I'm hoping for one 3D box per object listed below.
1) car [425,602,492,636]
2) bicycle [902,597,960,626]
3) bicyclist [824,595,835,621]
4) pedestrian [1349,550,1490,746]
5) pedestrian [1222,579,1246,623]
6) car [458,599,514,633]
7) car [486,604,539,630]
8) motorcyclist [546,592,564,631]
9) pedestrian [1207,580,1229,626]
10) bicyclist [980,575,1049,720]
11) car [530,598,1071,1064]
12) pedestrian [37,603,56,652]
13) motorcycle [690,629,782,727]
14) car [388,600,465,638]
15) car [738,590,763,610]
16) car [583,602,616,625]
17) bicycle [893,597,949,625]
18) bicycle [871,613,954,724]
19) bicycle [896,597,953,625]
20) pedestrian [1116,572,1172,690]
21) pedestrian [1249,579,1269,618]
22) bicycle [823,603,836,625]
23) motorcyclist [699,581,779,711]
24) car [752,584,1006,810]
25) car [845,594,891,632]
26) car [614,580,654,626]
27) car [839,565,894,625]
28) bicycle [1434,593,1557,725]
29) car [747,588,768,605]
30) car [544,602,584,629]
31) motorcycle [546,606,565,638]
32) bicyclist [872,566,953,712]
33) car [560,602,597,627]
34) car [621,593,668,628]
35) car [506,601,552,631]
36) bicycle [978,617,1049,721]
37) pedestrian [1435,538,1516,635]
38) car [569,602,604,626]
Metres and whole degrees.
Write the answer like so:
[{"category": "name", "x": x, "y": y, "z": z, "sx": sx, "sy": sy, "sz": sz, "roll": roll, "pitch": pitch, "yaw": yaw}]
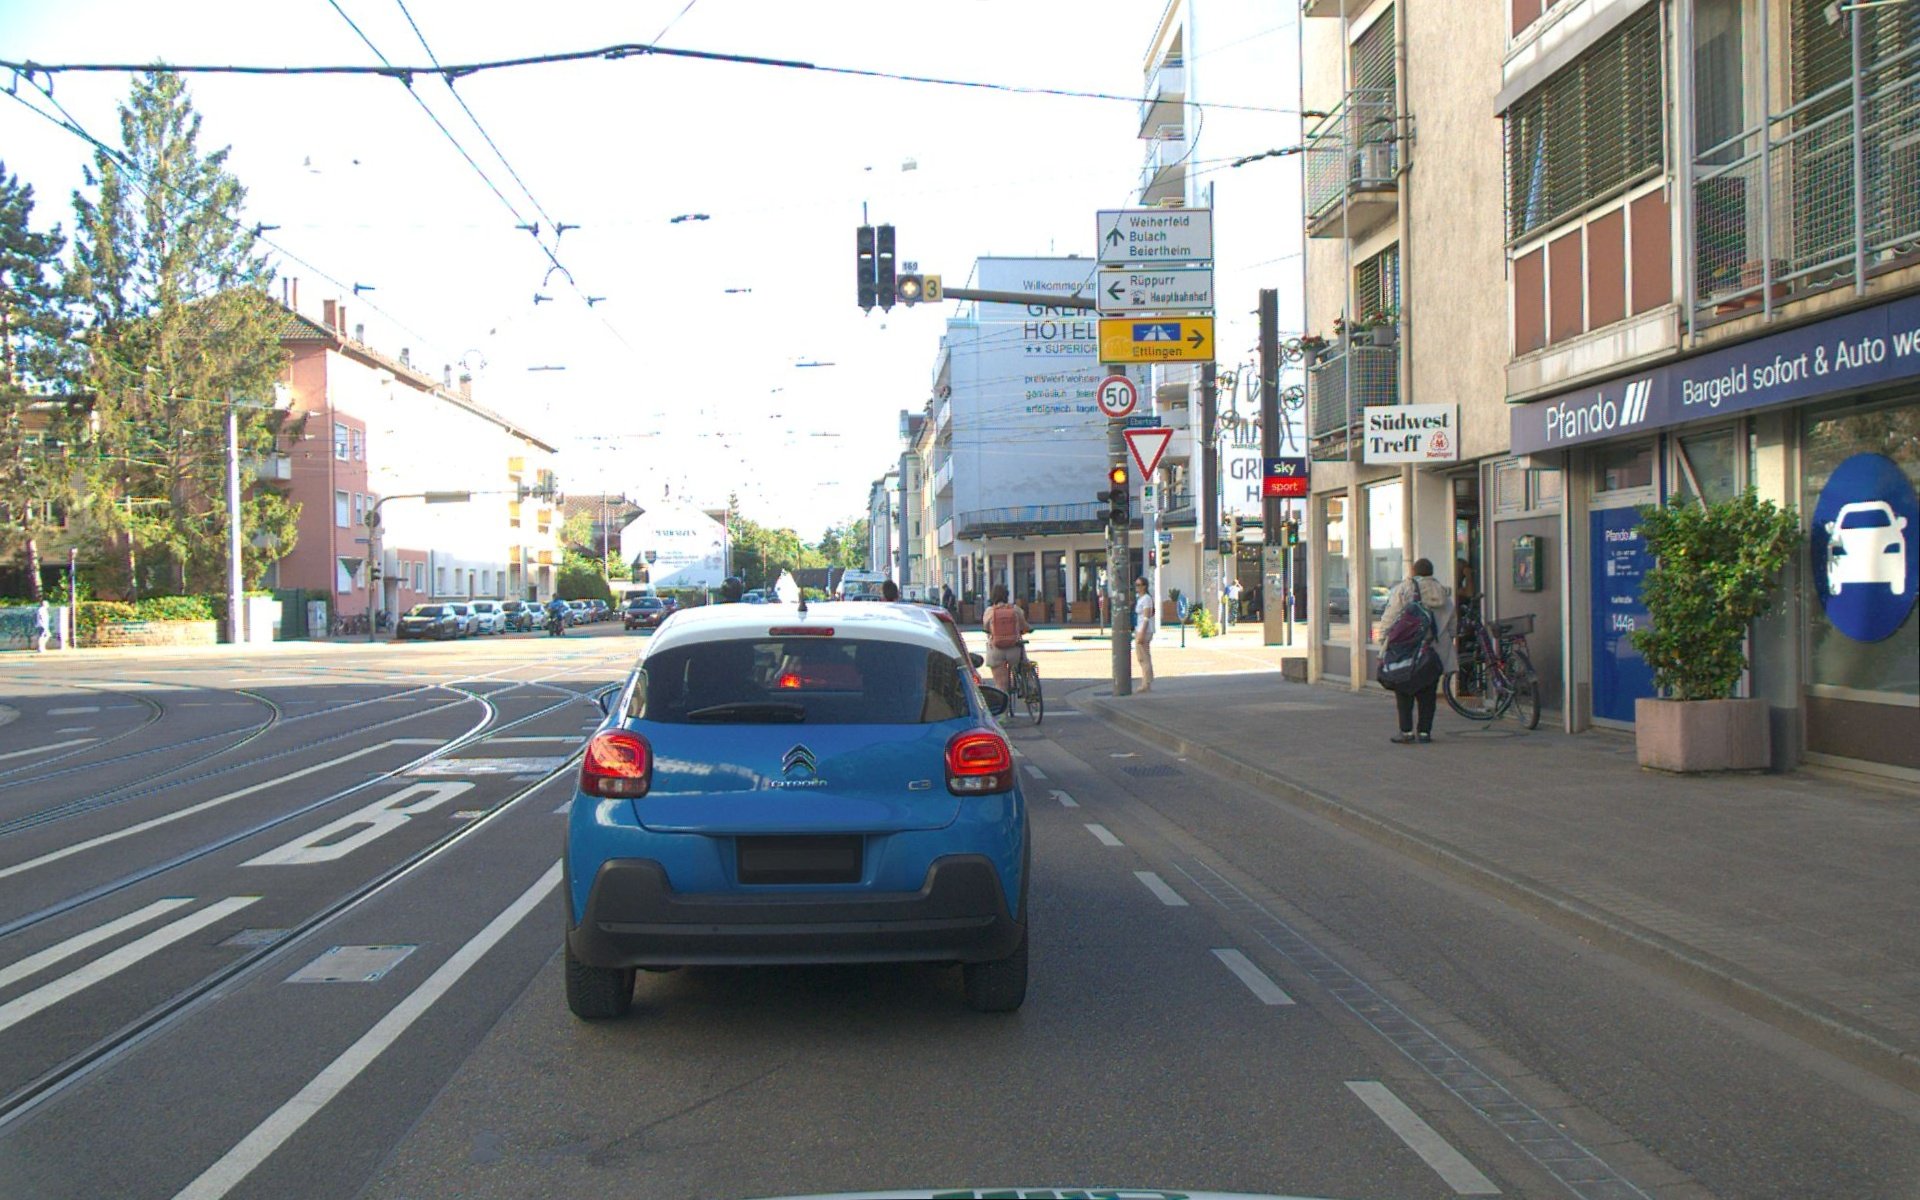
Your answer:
[{"category": "car", "x": -22.367, "y": 0.830, "z": 73.862, "sx": 1.865, "sy": 1.462, "sz": 4.100, "roll": 1, "pitch": 0, "yaw": -3}, {"category": "bicycle", "x": -1.149, "y": 0.453, "z": 65.784, "sx": 2.208, "sy": 1.019, "sz": 0.855, "roll": -2, "pitch": 0, "yaw": -6}, {"category": "bicyclist", "x": -10.446, "y": 0.664, "z": 132.470, "sx": 0.774, "sy": 2.060, "sz": 0.986, "roll": 1, "pitch": -1, "yaw": 0}, {"category": "pedestrian", "x": 4.014, "y": 0.398, "z": 14.490, "sx": 0.868, "sy": 1.619, "sz": 0.809, "roll": -3, "pitch": 1, "yaw": -9}, {"category": "pedestrian", "x": 10.215, "y": 0.044, "z": 61.673, "sx": 0.601, "sy": 1.636, "sz": 0.665, "roll": 0, "pitch": -1, "yaw": 42}, {"category": "car", "x": -22.623, "y": 0.756, "z": 79.020, "sx": 1.707, "sy": 1.553, "sz": 4.226, "roll": 1, "pitch": 0, "yaw": -4}, {"category": "car", "x": -23.139, "y": 0.872, "z": 85.639, "sx": 1.909, "sy": 1.261, "sz": 4.278, "roll": 1, "pitch": 0, "yaw": -5}, {"category": "motorcyclist", "x": -16.372, "y": 0.467, "z": 66.907, "sx": 0.681, "sy": 1.523, "sz": 0.682, "roll": -1, "pitch": -2, "yaw": -14}, {"category": "pedestrian", "x": 9.273, "y": 0.111, "z": 59.482, "sx": 0.598, "sy": 1.636, "sz": 0.668, "roll": 1, "pitch": -1, "yaw": 27}, {"category": "bicyclist", "x": 0.681, "y": 0.574, "z": 20.354, "sx": 0.794, "sy": 1.721, "sz": 0.935, "roll": 1, "pitch": 0, "yaw": 4}, {"category": "car", "x": -0.402, "y": 0.736, "z": 7.137, "sx": 1.700, "sy": 1.478, "sz": 3.664, "roll": 0, "pitch": 0, "yaw": 5}, {"category": "pedestrian", "x": -30.118, "y": 0.898, "z": 54.513, "sx": 0.510, "sy": 1.596, "sz": 0.568, "roll": 1, "pitch": -1, "yaw": -28}, {"category": "motorcycle", "x": -2.624, "y": 0.892, "z": 19.593, "sx": 0.837, "sy": 1.065, "sz": 1.942, "roll": 1, "pitch": 0, "yaw": -1}, {"category": "car", "x": -22.103, "y": 0.821, "z": 68.708, "sx": 2.112, "sy": 1.457, "sz": 4.435, "roll": 1, "pitch": -2, "yaw": -5}, {"category": "car", "x": -21.569, "y": 0.033, "z": 170.504, "sx": 2.174, "sy": 1.965, "sz": 4.945, "roll": 1, "pitch": 0, "yaw": -4}, {"category": "car", "x": -25.815, "y": 0.969, "z": 118.566, "sx": 1.833, "sy": 1.604, "sz": 3.995, "roll": 1, "pitch": 0, "yaw": -6}, {"category": "bicycle", "x": -1.624, "y": 0.452, "z": 68.257, "sx": 2.208, "sy": 1.019, "sz": 0.855, "roll": -2, "pitch": 0, "yaw": -6}, {"category": "bicycle", "x": -0.570, "y": 0.787, "z": 19.830, "sx": 0.921, "sy": 1.245, "sz": 2.094, "roll": 1, "pitch": 0, "yaw": -2}, {"category": "bicycle", "x": -1.437, "y": 0.444, "z": 67.147, "sx": 2.208, "sy": 1.019, "sz": 0.855, "roll": -2, "pitch": 0, "yaw": -6}, {"category": "pedestrian", "x": 2.694, "y": 0.452, "z": 24.181, "sx": 0.528, "sy": 1.652, "sz": 0.733, "roll": -5, "pitch": -2, "yaw": 21}, {"category": "pedestrian", "x": 11.479, "y": -0.067, "z": 63.586, "sx": 0.595, "sy": 1.469, "sz": 0.554, "roll": 1, "pitch": -1, "yaw": 29}, {"category": "bicycle", "x": -10.454, "y": 1.138, "z": 132.390, "sx": 0.774, "sy": 1.699, "sz": 2.230, "roll": 1, "pitch": 0, "yaw": 1}, {"category": "motorcyclist", "x": -2.624, "y": 0.540, "z": 19.735, "sx": 0.837, "sy": 1.514, "sz": 0.729, "roll": 1, "pitch": -1, "yaw": -1}, {"category": "car", "x": -0.733, "y": 0.668, "z": 13.444, "sx": 1.750, "sy": 1.548, "sz": 3.758, "roll": 1, "pitch": 1, "yaw": -5}, {"category": "car", "x": -3.792, "y": 0.518, "z": 67.776, "sx": 1.626, "sy": 1.456, "sz": 3.882, "roll": 1, "pitch": 0, "yaw": -7}, {"category": "car", "x": -23.390, "y": 0.235, "z": 118.773, "sx": 2.370, "sy": 3.197, "sz": 3.486, "roll": 1, "pitch": 0, "yaw": -4}, {"category": "car", "x": -4.149, "y": -0.208, "z": 72.760, "sx": 2.221, "sy": 2.525, "sz": 5.002, "roll": 0, "pitch": 0, "yaw": -5}, {"category": "bicycle", "x": 5.094, "y": 0.540, "z": 15.832, "sx": 0.486, "sy": 1.182, "sz": 1.776, "roll": -1, "pitch": 0, "yaw": -4}, {"category": "car", "x": -22.923, "y": -0.368, "z": 187.484, "sx": 2.033, "sy": 1.793, "sz": 5.032, "roll": 1, "pitch": 0, "yaw": -4}, {"category": "car", "x": -24.496, "y": 0.926, "z": 102.421, "sx": 1.833, "sy": 1.604, "sz": 3.995, "roll": 1, "pitch": 0, "yaw": -6}, {"category": "motorcycle", "x": -16.324, "y": 0.892, "z": 66.720, "sx": 0.700, "sy": 1.241, "sz": 1.958, "roll": -1, "pitch": -2, "yaw": -14}, {"category": "bicyclist", "x": -0.575, "y": 0.458, "z": 19.948, "sx": 0.921, "sy": 1.702, "sz": 1.079, "roll": 1, "pitch": 0, "yaw": -2}, {"category": "car", "x": -24.772, "y": 0.941, "z": 107.449, "sx": 1.833, "sy": 1.604, "sz": 3.995, "roll": 1, "pitch": 0, "yaw": -6}, {"category": "car", "x": -14.513, "y": 0.483, "z": 76.212, "sx": 1.744, "sy": 1.512, "sz": 3.824, "roll": -1, "pitch": 0, "yaw": -5}, {"category": "car", "x": -23.855, "y": 0.893, "z": 91.697, "sx": 1.833, "sy": 1.604, "sz": 3.995, "roll": 1, "pitch": 0, "yaw": -6}, {"category": "bicycle", "x": 0.688, "y": 0.819, "z": 20.528, "sx": 0.794, "sy": 1.202, "sz": 2.065, "roll": 1, "pitch": 0, "yaw": 4}, {"category": "pedestrian", "x": 6.029, "y": -0.159, "z": 19.347, "sx": 0.618, "sy": 1.106, "sz": 0.670, "roll": -2, "pitch": 1, "yaw": -38}, {"category": "car", "x": -25.326, "y": 0.952, "z": 112.295, "sx": 1.833, "sy": 1.604, "sz": 3.995, "roll": 1, "pitch": 0, "yaw": -6}]
